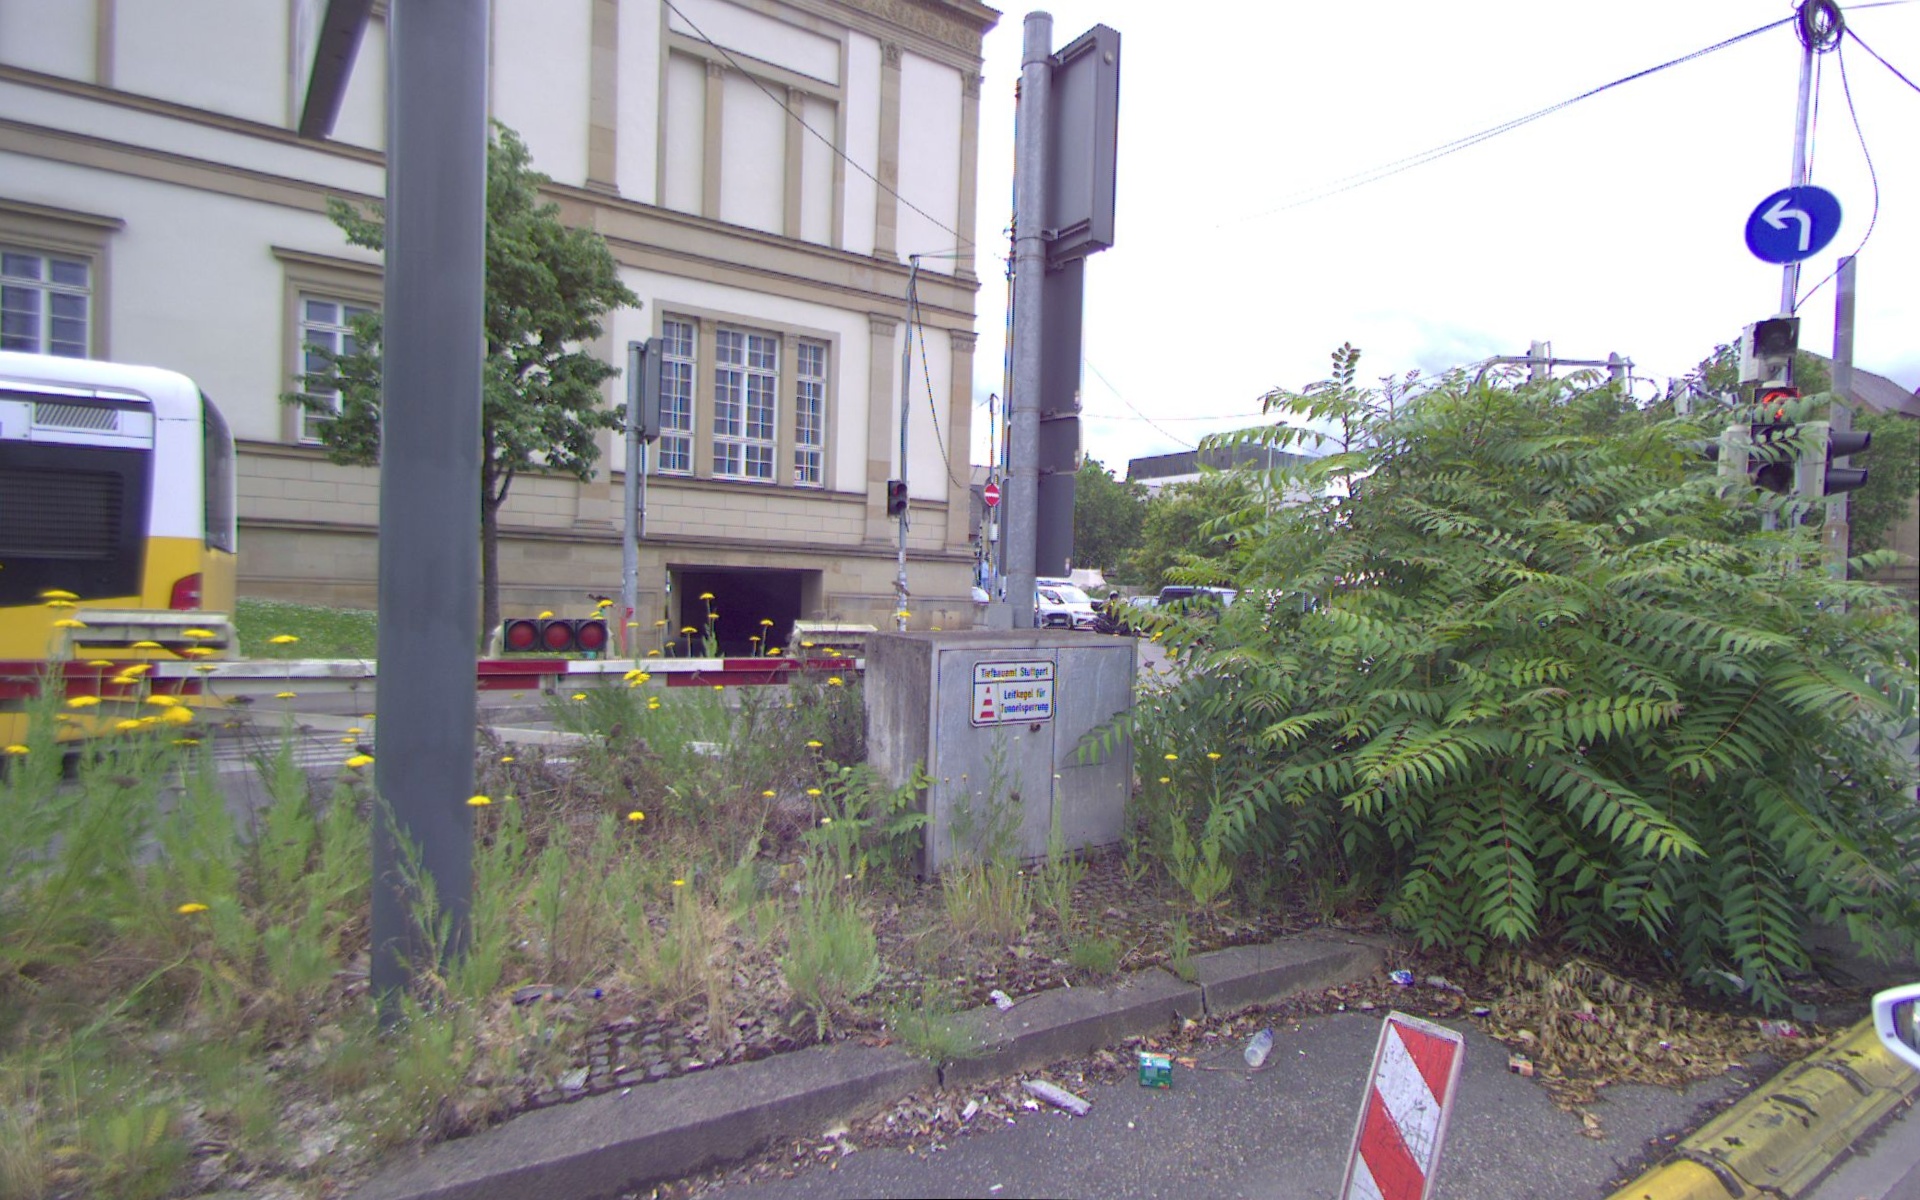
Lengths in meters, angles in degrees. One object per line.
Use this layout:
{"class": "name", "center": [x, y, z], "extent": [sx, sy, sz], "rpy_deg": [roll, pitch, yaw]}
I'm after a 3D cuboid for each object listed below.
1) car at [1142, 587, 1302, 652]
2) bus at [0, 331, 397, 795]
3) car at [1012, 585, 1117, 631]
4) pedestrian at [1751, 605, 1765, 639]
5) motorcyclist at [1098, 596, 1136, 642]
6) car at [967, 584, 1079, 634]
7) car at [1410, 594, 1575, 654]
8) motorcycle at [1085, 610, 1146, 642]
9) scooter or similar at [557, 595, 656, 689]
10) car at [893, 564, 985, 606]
{"class": "car", "center": [7.534, 0.512, 29.271], "extent": [1.979, 1.698, 4.285], "rpy_deg": [1, 1, -34]}
{"class": "bus", "center": [-9.104, -0.316, 6.950], "extent": [9.017, 3.156, 2.831], "rpy_deg": [1, 1, -31]}
{"class": "car", "center": [4.196, 0.290, 40.923], "extent": [1.979, 1.698, 4.285], "rpy_deg": [1, 1, -34]}
{"class": "pedestrian", "center": [49.768, 1.366, 62.648], "extent": [0.516, 2.040, 0.428], "rpy_deg": [2, 1, 17]}
{"class": "motorcyclist", "center": [5.085, 0.602, 32.603], "extent": [0.738, 1.442, 0.959], "rpy_deg": [1, 1, -35]}
{"class": "car", "center": [2.281, 0.291, 37.568], "extent": [1.979, 1.698, 4.285], "rpy_deg": [1, 1, -34]}
{"class": "car", "center": [17.117, 0.730, 32.444], "extent": [1.986, 1.698, 4.271], "rpy_deg": [1, 1, -43]}
{"class": "motorcycle", "center": [5.036, 0.843, 32.678], "extent": [0.749, 0.937, 2.042], "rpy_deg": [1, 1, -35]}
{"class": "scooter or similar", "center": [-4.951, 0.584, 14.124], "extent": [1.132, 1.190, 0.540], "rpy_deg": [6, 0, -10]}
{"class": "car", "center": [-0.955, -0.681, 43.675], "extent": [1.979, 1.698, 4.285], "rpy_deg": [1, 1, -34]}
